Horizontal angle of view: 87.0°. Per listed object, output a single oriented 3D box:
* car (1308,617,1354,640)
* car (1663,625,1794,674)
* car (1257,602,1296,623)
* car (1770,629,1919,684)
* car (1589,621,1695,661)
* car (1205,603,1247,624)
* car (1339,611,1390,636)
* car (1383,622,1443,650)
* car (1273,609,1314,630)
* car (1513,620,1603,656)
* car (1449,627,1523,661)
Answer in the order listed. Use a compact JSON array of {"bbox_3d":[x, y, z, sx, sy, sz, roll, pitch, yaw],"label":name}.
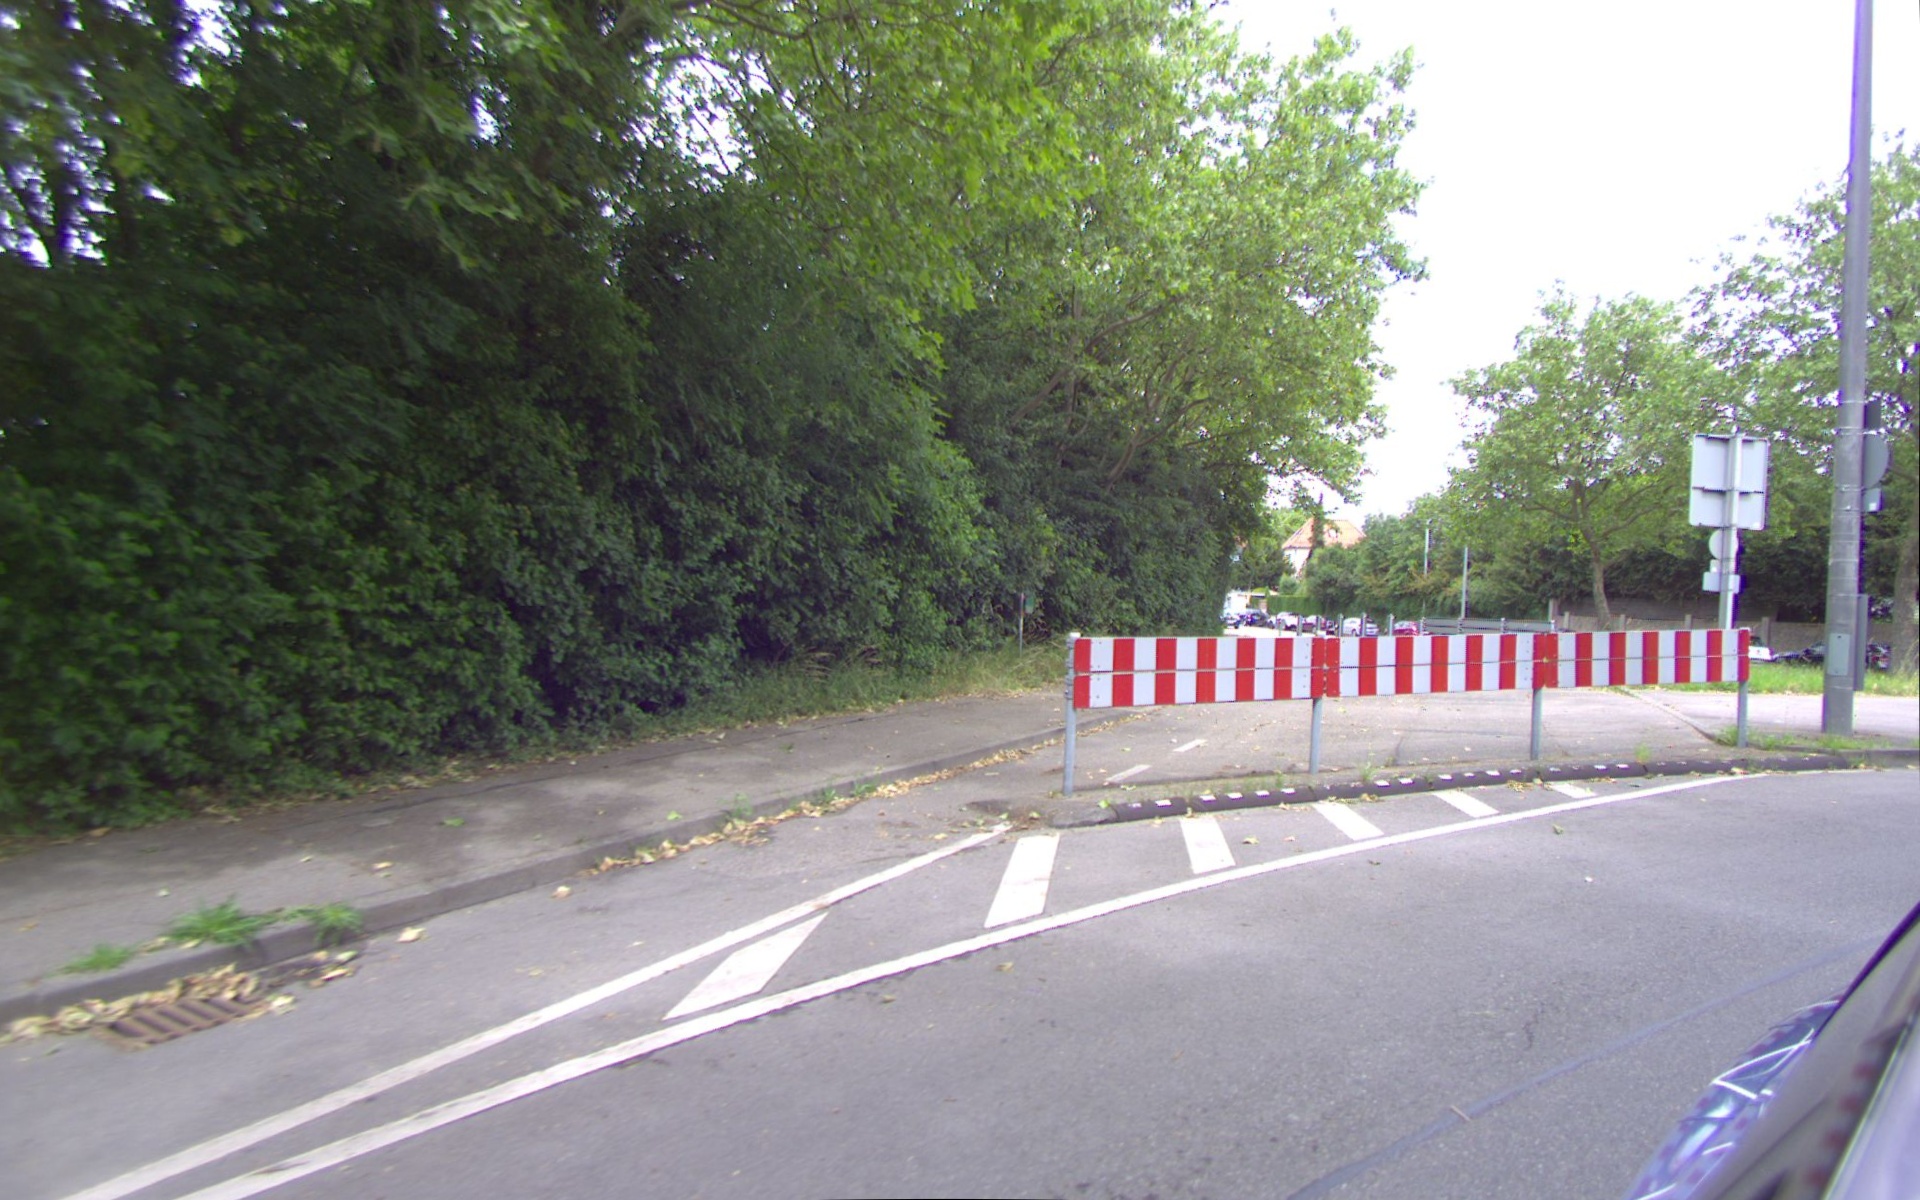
[{"bbox_3d":[28.211,2.147,77.049,1.653,1.523,3.836,5,0,-6],"label":"car"},{"bbox_3d":[31.604,2.002,41.775,1.761,1.636,4.223,5,0,-7],"label":"car"},{"bbox_3d":[26.926,1.054,86.256,1.653,1.523,3.836,5,0,-6],"label":"car"},{"bbox_3d":[31.989,2.001,36.323,1.761,1.636,4.469,5,0,-9],"label":"car"},{"bbox_3d":[31.209,1.860,46.473,1.761,1.523,4.043,5,0,-6],"label":"car"},{"bbox_3d":[20.298,1.003,77.389,1.762,1.446,4.151,5,0,-5],"label":"car"},{"bbox_3d":[28.523,1.628,71.460,1.653,1.523,3.836,5,0,-6],"label":"car"},{"bbox_3d":[28.977,2.264,64.850,1.653,1.523,3.836,5,0,-6],"label":"car"},{"bbox_3d":[27.291,1.595,82.933,1.653,1.523,3.836,5,0,-6],"label":"car"},{"bbox_3d":[30.456,1.894,51.698,1.761,1.523,4.043,5,0,-6],"label":"car"},{"bbox_3d":[29.774,2.453,57.409,1.761,1.624,4.042,3,0,-5],"label":"car"}]
